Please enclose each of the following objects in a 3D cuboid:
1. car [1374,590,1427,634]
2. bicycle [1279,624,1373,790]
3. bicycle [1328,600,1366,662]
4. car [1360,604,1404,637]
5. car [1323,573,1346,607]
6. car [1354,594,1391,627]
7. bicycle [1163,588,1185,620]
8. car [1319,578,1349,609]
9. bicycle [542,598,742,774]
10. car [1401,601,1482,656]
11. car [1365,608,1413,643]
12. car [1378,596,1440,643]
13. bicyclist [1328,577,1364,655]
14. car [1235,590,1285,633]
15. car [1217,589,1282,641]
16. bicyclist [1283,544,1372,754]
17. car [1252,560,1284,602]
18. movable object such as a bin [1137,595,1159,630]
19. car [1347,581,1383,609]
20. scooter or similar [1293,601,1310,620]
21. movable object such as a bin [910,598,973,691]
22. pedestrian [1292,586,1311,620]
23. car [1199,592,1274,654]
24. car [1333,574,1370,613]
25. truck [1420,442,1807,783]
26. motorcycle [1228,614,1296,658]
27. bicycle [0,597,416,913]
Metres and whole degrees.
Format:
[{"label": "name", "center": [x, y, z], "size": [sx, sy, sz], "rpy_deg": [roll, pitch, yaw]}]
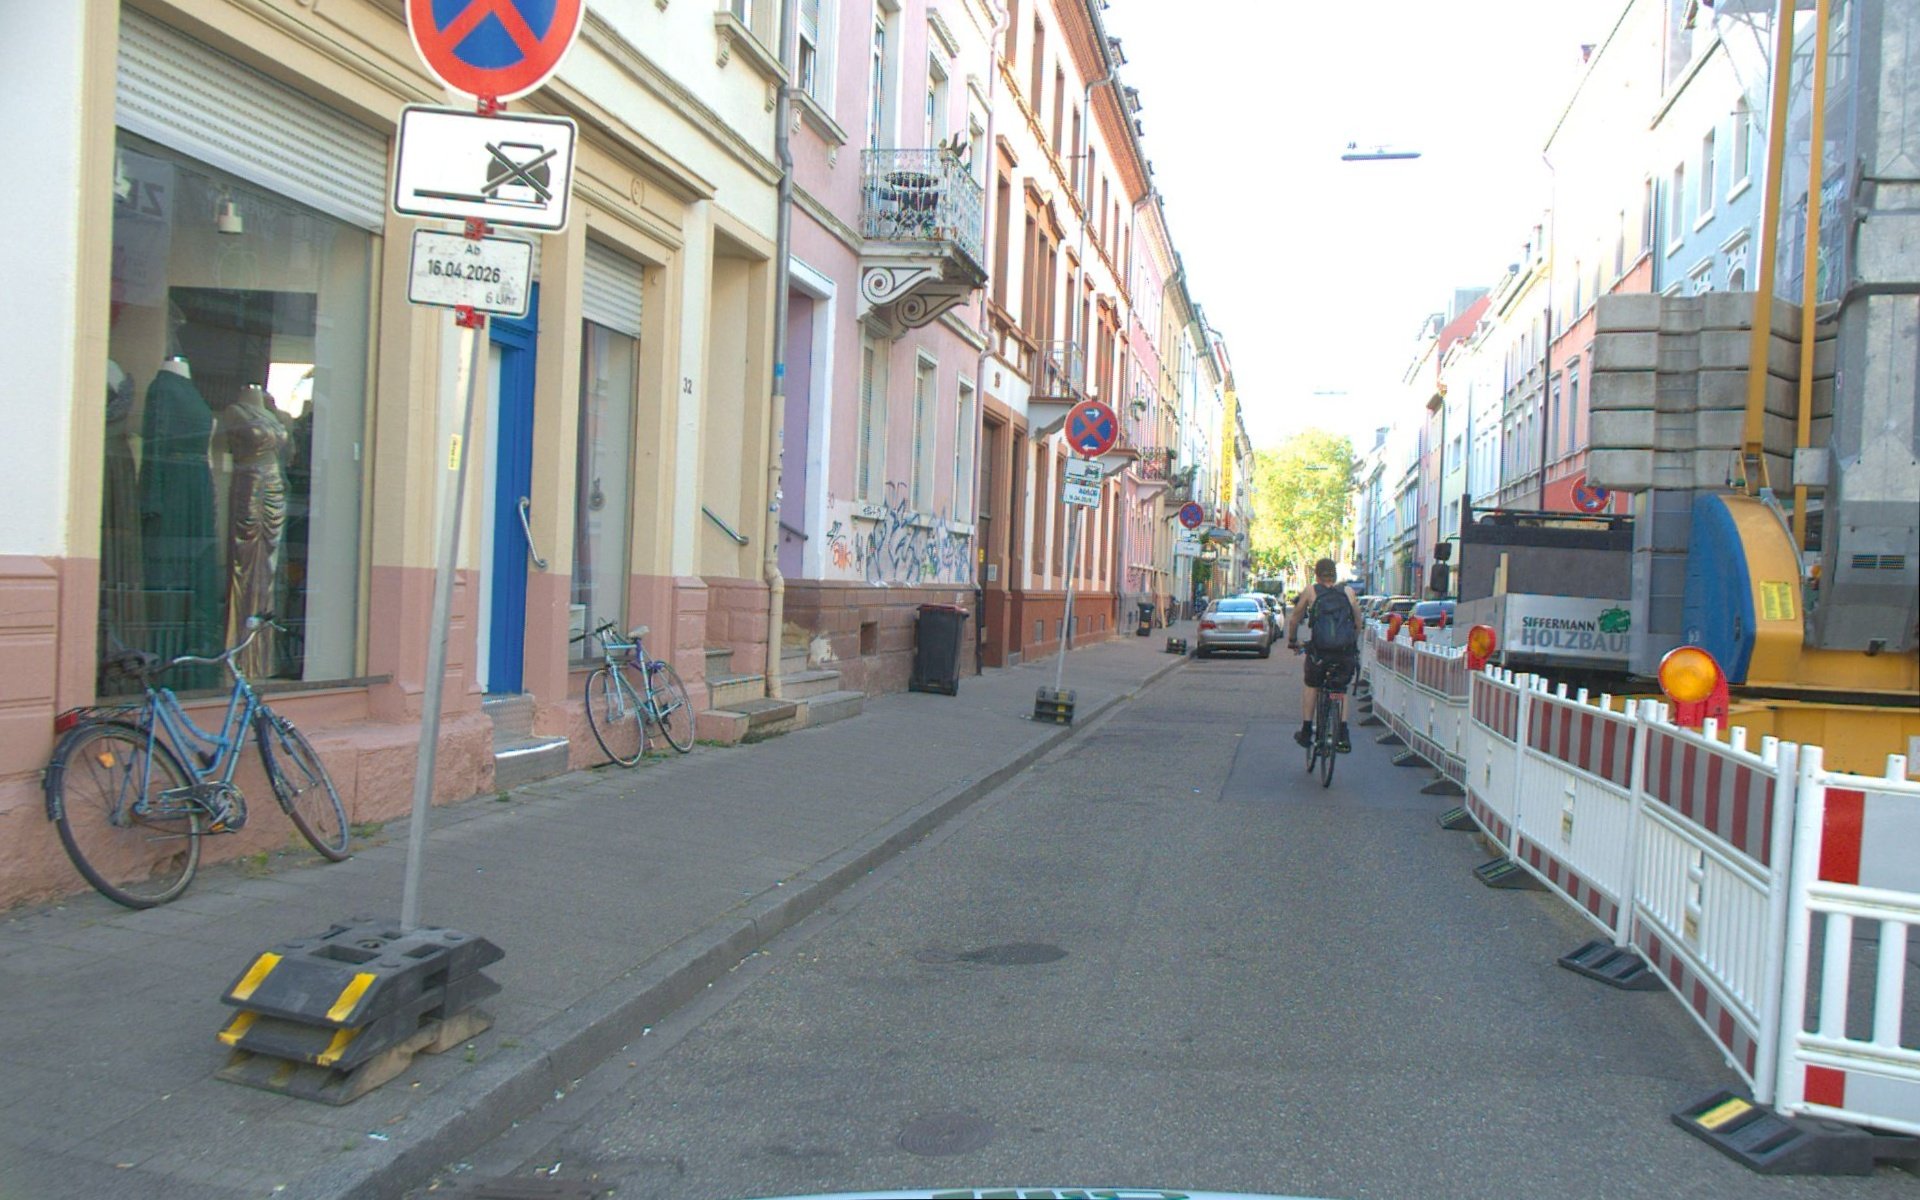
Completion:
[{"label": "car", "center": [16.561, 0.458, 62.327], "size": [1.674, 1.583, 4.003], "rpy_deg": [0, 0, 11]}, {"label": "bicycle", "center": [3.015, 0.825, 13.733], "size": [0.687, 1.229, 2.344], "rpy_deg": [0, 0, 11]}, {"label": "bicycle", "center": [8.216, 0.639, 35.198], "size": [0.687, 1.229, 2.344], "rpy_deg": [1, 1, 11]}, {"label": "car", "center": [18.574, 0.904, 72.926], "size": [1.674, 1.407, 4.003], "rpy_deg": [0, 0, 11]}, {"label": "car", "center": [41.985, -1.084, 185.422], "size": [2.258, 3.834, 6.775], "rpy_deg": [0, 0, 11]}, {"label": "car", "center": [20.505, 0.534, 82.218], "size": [1.586, 1.577, 4.003], "rpy_deg": [0, 0, 11]}, {"label": "bicycle", "center": [7.704, 0.158, 59.476], "size": [0.580, 1.107, 2.080], "rpy_deg": [3, 0, 12]}, {"label": "car", "center": [31.444, -0.508, 139.171], "size": [2.258, 2.582, 6.775], "rpy_deg": [0, 0, 11]}, {"label": "bicycle", "center": [-2.108, 0.533, 11.227], "size": [0.609, 1.040, 1.820], "rpy_deg": [4, 1, 12]}, {"label": "car", "center": [13.505, 0.770, 46.598], "size": [1.778, 1.463, 4.794], "rpy_deg": [0, 0, 11]}, {"label": "car", "center": [17.499, 1.017, 67.575], "size": [1.674, 1.407, 4.003], "rpy_deg": [0, 0, 11]}, {"label": "car", "center": [15.396, 0.660, 56.852], "size": [1.778, 1.548, 4.003], "rpy_deg": [0, 0, 11]}, {"label": "bicyclist", "center": [8.209, 0.330, 35.197], "size": [0.687, 1.633, 0.813], "rpy_deg": [1, 1, 11]}, {"label": "car", "center": [10.446, 0.397, 57.495], "size": [1.636, 1.467, 4.169], "rpy_deg": [0, 0, 11]}, {"label": "car", "center": [8.945, 0.420, 50.921], "size": [1.674, 1.407, 4.359], "rpy_deg": [2, 1, 13]}, {"label": "bicyclist", "center": [3.022, 0.386, 13.657], "size": [0.687, 1.662, 1.091], "rpy_deg": [0, 0, 11]}, {"label": "car", "center": [19.333, -1.166, 103.893], "size": [1.869, 2.540, 4.169], "rpy_deg": [1, 0, 9]}, {"label": "movable object such as a bin", "center": [5.298, 0.343, 46.630], "size": [0.532, 0.961, 0.488], "rpy_deg": [3, 0, 12]}, {"label": "car", "center": [21.360, -0.257, 87.247], "size": [1.674, 1.418, 4.003], "rpy_deg": [0, 0, 11]}, {"label": "scooter or similar", "center": [16.795, 0.502, 81.305], "size": [0.754, 0.888, 0.771], "rpy_deg": [3, 0, 9]}, {"label": "movable object such as a bin", "center": [-0.214, 0.516, 19.675], "size": [0.592, 1.053, 0.597], "rpy_deg": [3, 0, 10]}, {"label": "pedestrian", "center": [16.899, 0.153, 81.847], "size": [0.754, 1.606, 0.901], "rpy_deg": [3, 0, 9]}, {"label": "car", "center": [6.809, 0.541, 40.424], "size": [1.674, 1.407, 4.509], "rpy_deg": [0, 0, 11]}, {"label": "car", "center": [26.989, -0.412, 114.122], "size": [2.258, 2.582, 6.775], "rpy_deg": [0, 0, 11]}, {"label": "truck", "center": [6.757, 0.106, 18.258], "size": [2.605, 2.863, 7.399], "rpy_deg": [3, 0, 12]}, {"label": "motorcycle", "center": [9.873, 1.169, 54.140], "size": [2.105, 1.383, 0.539], "rpy_deg": [-1, 0, -7]}, {"label": "bicycle", "center": [-2.998, 0.552, 6.705], "size": [0.591, 1.040, 1.819], "rpy_deg": [6, 0, 12]}]
